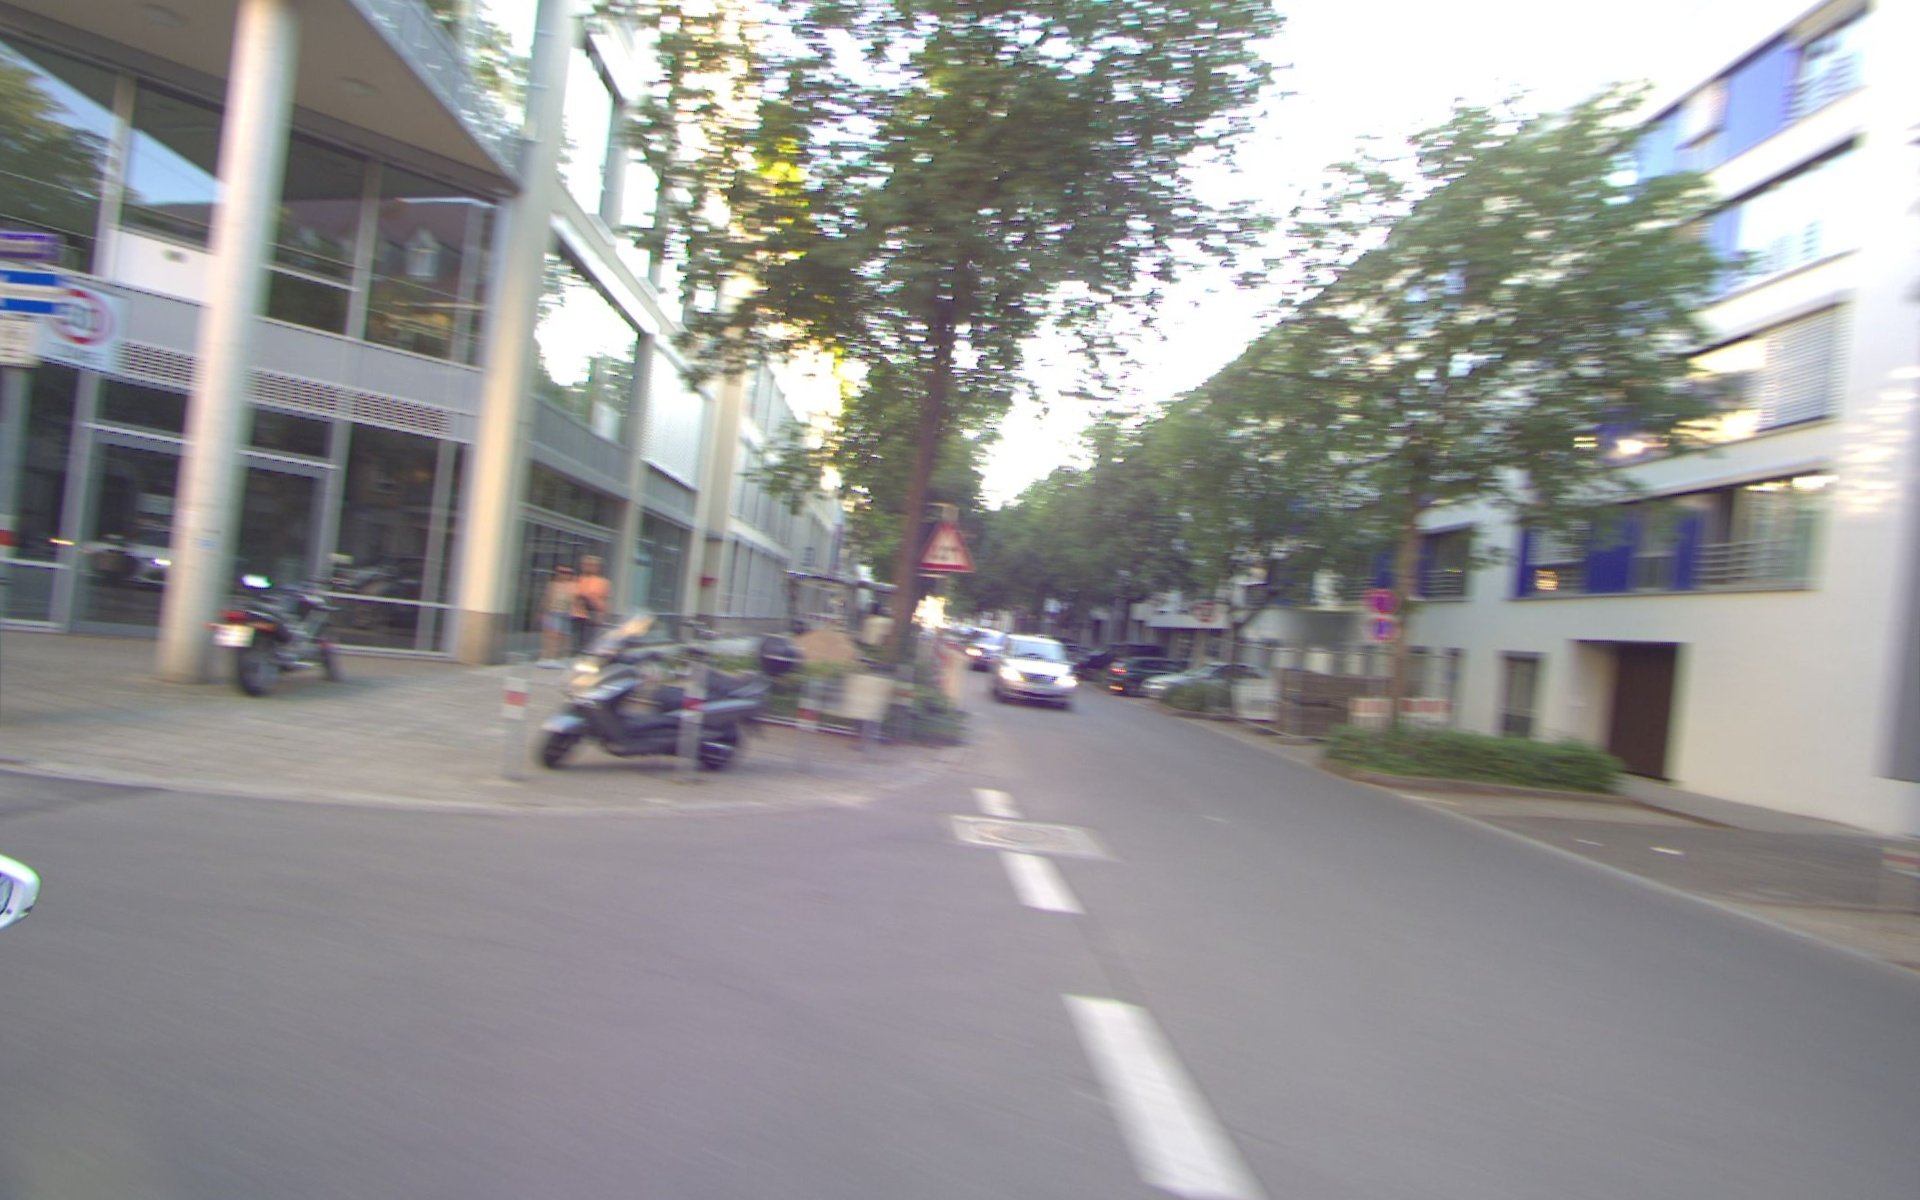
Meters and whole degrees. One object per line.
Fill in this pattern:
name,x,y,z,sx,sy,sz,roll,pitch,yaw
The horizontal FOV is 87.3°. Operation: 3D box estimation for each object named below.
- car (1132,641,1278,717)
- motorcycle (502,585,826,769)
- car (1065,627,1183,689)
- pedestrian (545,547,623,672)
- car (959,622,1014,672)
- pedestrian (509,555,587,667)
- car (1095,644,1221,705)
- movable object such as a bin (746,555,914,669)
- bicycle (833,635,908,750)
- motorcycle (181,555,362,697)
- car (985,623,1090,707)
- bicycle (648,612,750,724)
car,7.633,2.447,31.596,3.926,1.826,2.001,7,-1,0
motorcycle,-2.468,0.679,8.615,2.342,1.297,1.054,8,-1,-44
car,7.330,2.572,45.194,4.670,2.037,1.999,8,-1,-4
pedestrian,-5.512,0.144,14.776,0.728,1.710,0.607,7,0,-2
car,1.150,1.889,41.564,1.919,1.734,4.705,7,-1,4
pedestrian,-6.121,0.169,14.978,0.758,1.554,0.642,7,0,-6
car,7.053,2.653,36.131,3.927,1.604,2.000,7,-1,-2
movable object such as a bin,-3.475,0.314,26.833,3.990,2.412,2.780,7,0,-9
bicycle,-1.127,1.078,12.321,0.673,1.166,1.978,7,-1,-8
motorcycle,-6.675,0.220,9.910,0.549,1.186,2.303,7,-1,-13
car,1.798,1.526,24.831,1.979,1.632,4.119,7,-1,-2
bicycle,-3.104,0.771,12.177,0.673,1.166,1.980,7,-1,-2
